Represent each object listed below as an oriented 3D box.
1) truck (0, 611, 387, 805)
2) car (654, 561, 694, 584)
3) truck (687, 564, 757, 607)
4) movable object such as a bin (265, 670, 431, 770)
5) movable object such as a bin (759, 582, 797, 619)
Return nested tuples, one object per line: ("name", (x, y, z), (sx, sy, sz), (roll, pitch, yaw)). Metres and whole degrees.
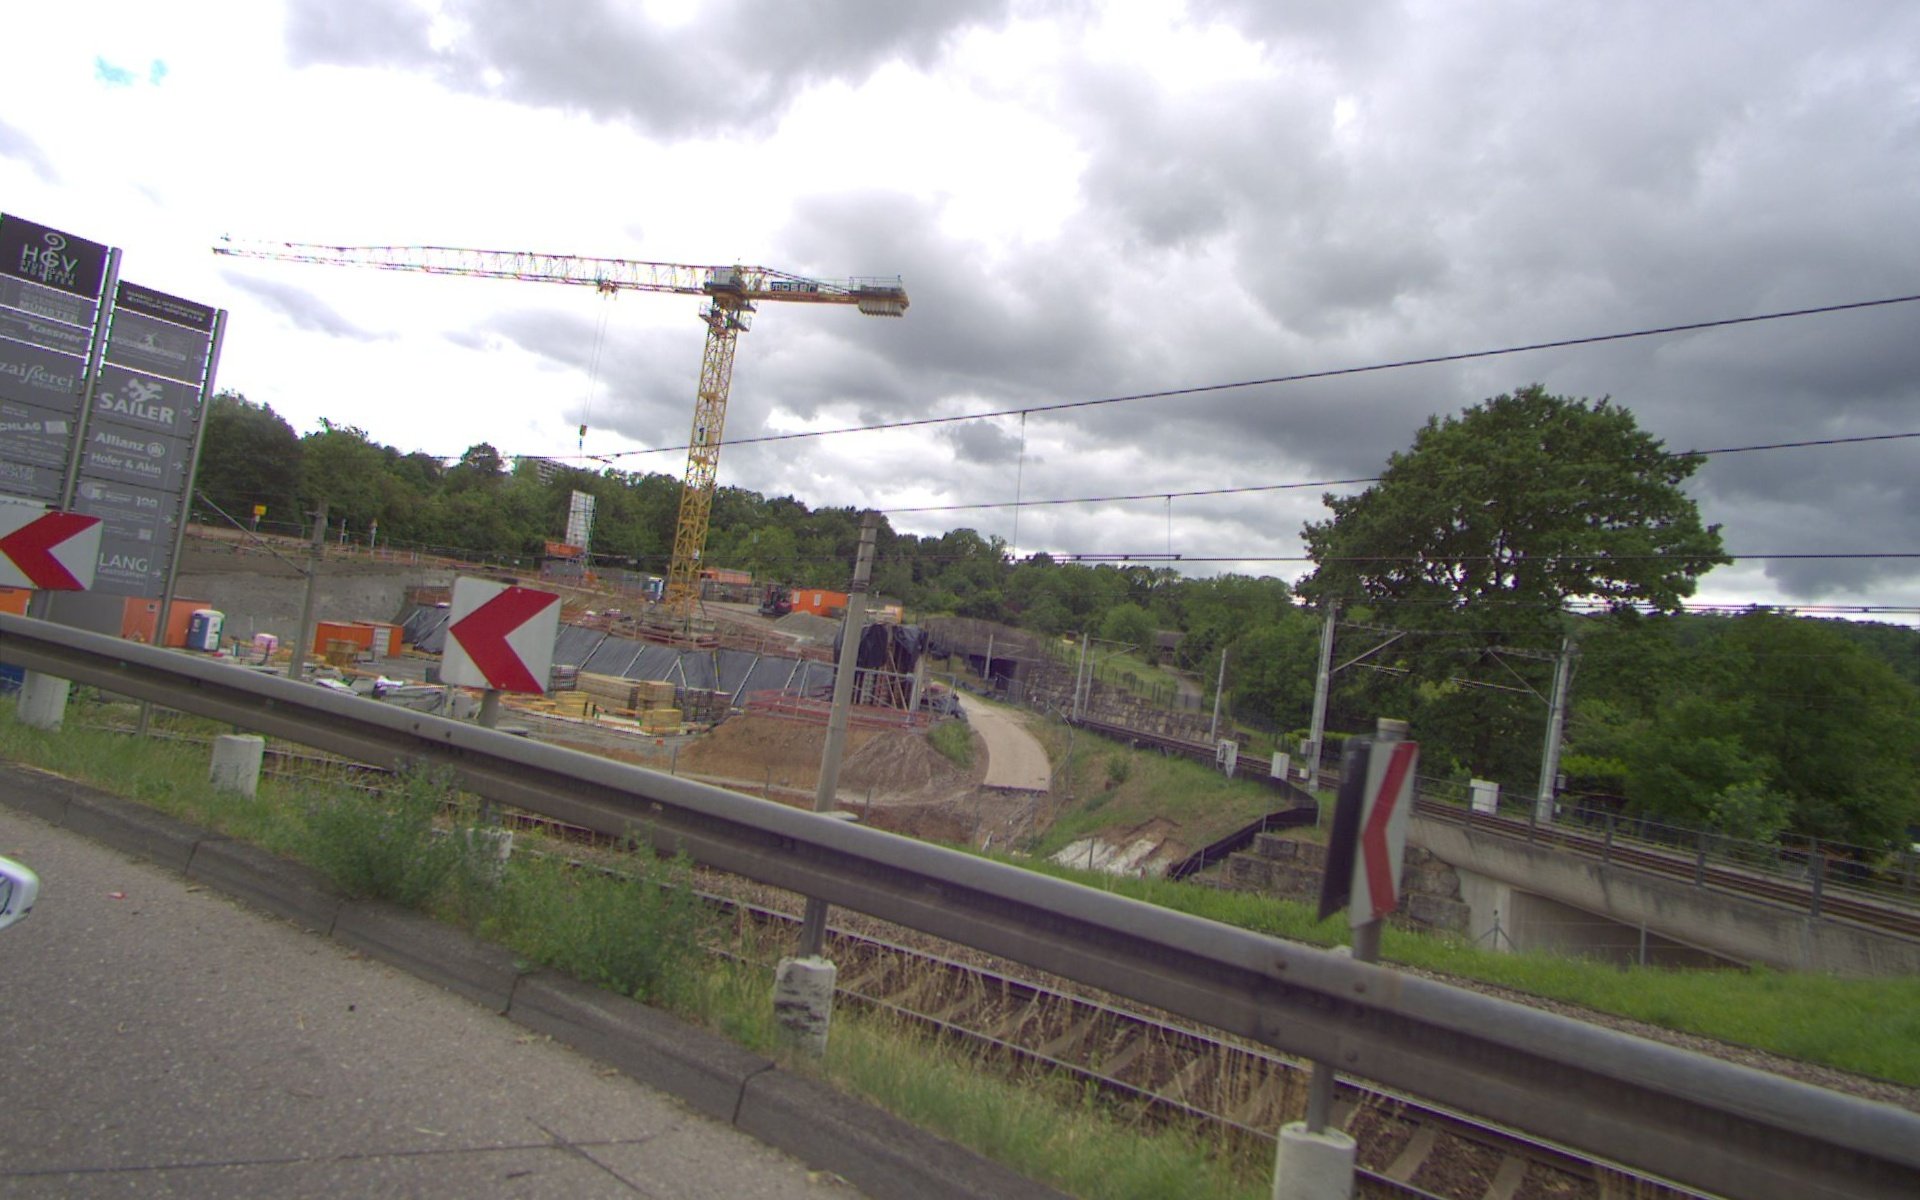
("truck", (-24.525, 3.266, 31.542), (11.403, 3.936, 2.851), (9, -2, 6))
("car", (-32.631, -3.157, 115.002), (1.966, 2.036, 3.998), (5, -3, 29))
("truck", (-31.041, -1.823, 131.803), (3.065, 4.268, 9.795), (7, -2, 25))
("movable object such as a bin", (-22.594, 4.388, 37.197), (4.209, 2.780, 3.050), (9, -1, 23))
("movable object such as a bin", (-17.668, 0.049, 97.549), (2.751, 3.112, 1.841), (6, -2, 26))
